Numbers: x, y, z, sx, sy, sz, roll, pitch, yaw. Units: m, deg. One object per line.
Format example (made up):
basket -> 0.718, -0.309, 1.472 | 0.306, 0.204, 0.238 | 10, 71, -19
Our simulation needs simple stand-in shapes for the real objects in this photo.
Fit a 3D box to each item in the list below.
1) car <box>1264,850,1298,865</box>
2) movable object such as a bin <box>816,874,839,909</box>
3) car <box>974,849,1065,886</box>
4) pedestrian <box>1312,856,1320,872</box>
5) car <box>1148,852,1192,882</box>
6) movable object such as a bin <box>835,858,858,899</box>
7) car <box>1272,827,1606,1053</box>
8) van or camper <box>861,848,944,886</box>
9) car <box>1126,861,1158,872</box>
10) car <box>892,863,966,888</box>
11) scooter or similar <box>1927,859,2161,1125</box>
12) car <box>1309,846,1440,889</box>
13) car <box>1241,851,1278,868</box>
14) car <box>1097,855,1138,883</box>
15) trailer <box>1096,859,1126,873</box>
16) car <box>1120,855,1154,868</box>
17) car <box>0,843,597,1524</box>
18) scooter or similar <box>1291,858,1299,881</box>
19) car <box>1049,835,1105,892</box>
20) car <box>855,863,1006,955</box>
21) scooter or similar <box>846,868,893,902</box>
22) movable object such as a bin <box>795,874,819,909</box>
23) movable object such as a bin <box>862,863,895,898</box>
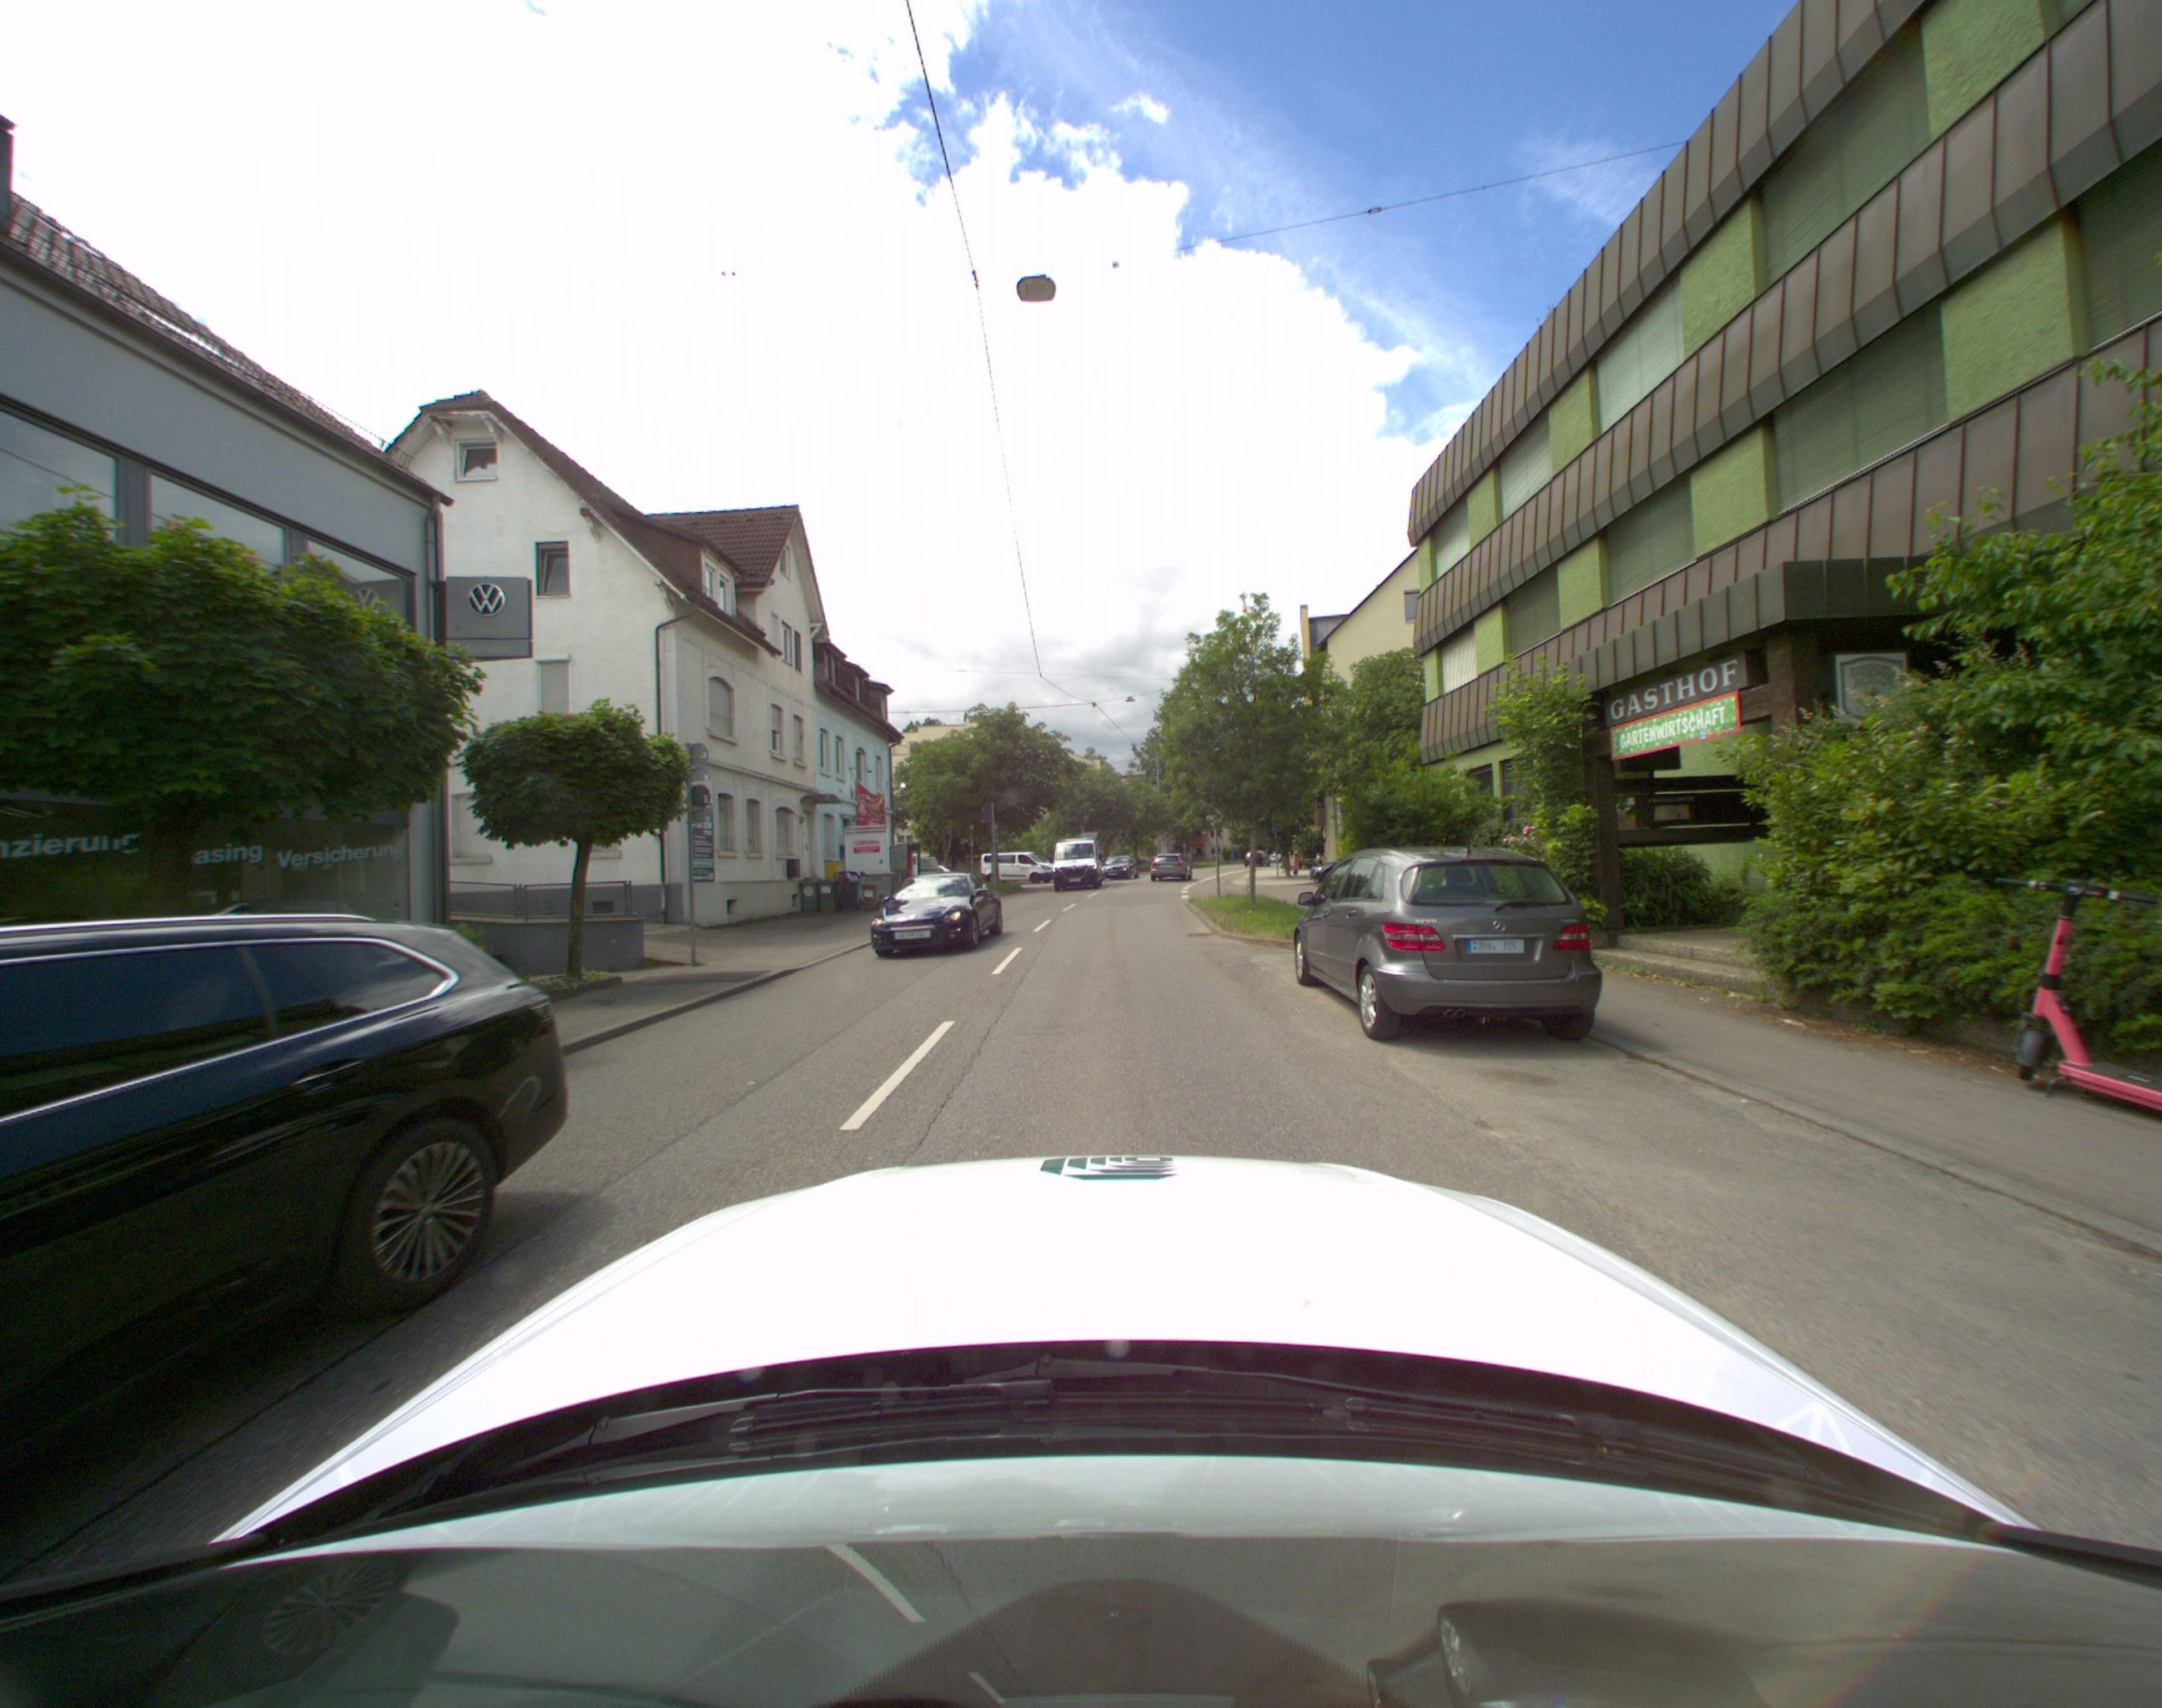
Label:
car -> 24.437, 0.451, 99.492 | 4.350, 1.616, 1.789 | 2, 0, -40
movable object such as a bin -> -8.153, 1.209, 26.187 | 0.563, 1.101, 0.562 | 1, -2, -3
car -> -3.886, 0.873, 51.504 | 5.168, 1.993, 2.119 | -4, -1, 20
pedestrian -> 17.293, 0.755, 59.909 | 0.572, 1.204, 0.505 | -1, -2, 18
car -> 4.855, 0.741, 43.985 | 1.943, 1.523, 4.343 | -1, -2, 12
movable object such as a bin -> -7.547, 0.783, 26.237 | 0.563, 1.273, 0.562 | 1, -1, -3
car -> 3.227, 0.641, 8.400 | 1.682, 1.666, 4.466 | -2, 0, 3
van or camper -> -9.789, 0.723, 44.927 | 1.767, 1.994, 4.407 | -2, -2, 37
car -> 8.321, 1.696, 111.269 | 4.045, 1.400, 1.802 | -1, -4, 17
car -> -9.188, 1.306, 49.274 | 3.988, 1.413, 1.822 | -1, -2, 13
scooter or similar -> 5.542, 0.698, 4.456 | 0.299, 1.305, 1.404 | -4, 0, 2
car -> 11.438, 0.535, 32.060 | 4.641, 1.628, 1.816 | 0, -1, 11
car -> 16.557, 0.506, 75.415 | 1.787, 1.523, 4.356 | 2, 1, 34
car -> 2.256, 0.884, 48.950 | 1.676, 1.482, 4.240 | -5, -2, 12
trailer -> 4.153, 1.720, 112.481 | 3.877, 1.799, 1.636 | -1, -5, 15
car -> 7.047, 0.976, 102.366 | 4.045, 1.400, 1.802 | -1, -4, 17
car -> -3.324, 0.763, 1.792 | 1.770, 1.523, 4.462 | -2, -1, 1
scooter or similar -> 12.097, 0.880, 46.066 | 0.378, 1.316, 1.465 | -1, -2, 15
car -> -0.112, 0.423, 37.956 | 2.054, 2.353, 5.188 | -4, 0, 4
car -> -2.692, 0.943, 15.545 | 1.762, 1.425, 4.113 | -3, -1, 4
scooter or similar -> -7.687, 1.124, 29.631 | 1.547, 1.184, 0.546 | 0, -2, 1
movable object such as a bin -> -8.789, 1.204, 26.165 | 0.563, 1.101, 0.562 | 1, -2, -3
movable object such as a bin -> -8.131, 1.062, 32.708 | 1.016, 1.355, 1.247 | 0, -2, 0
